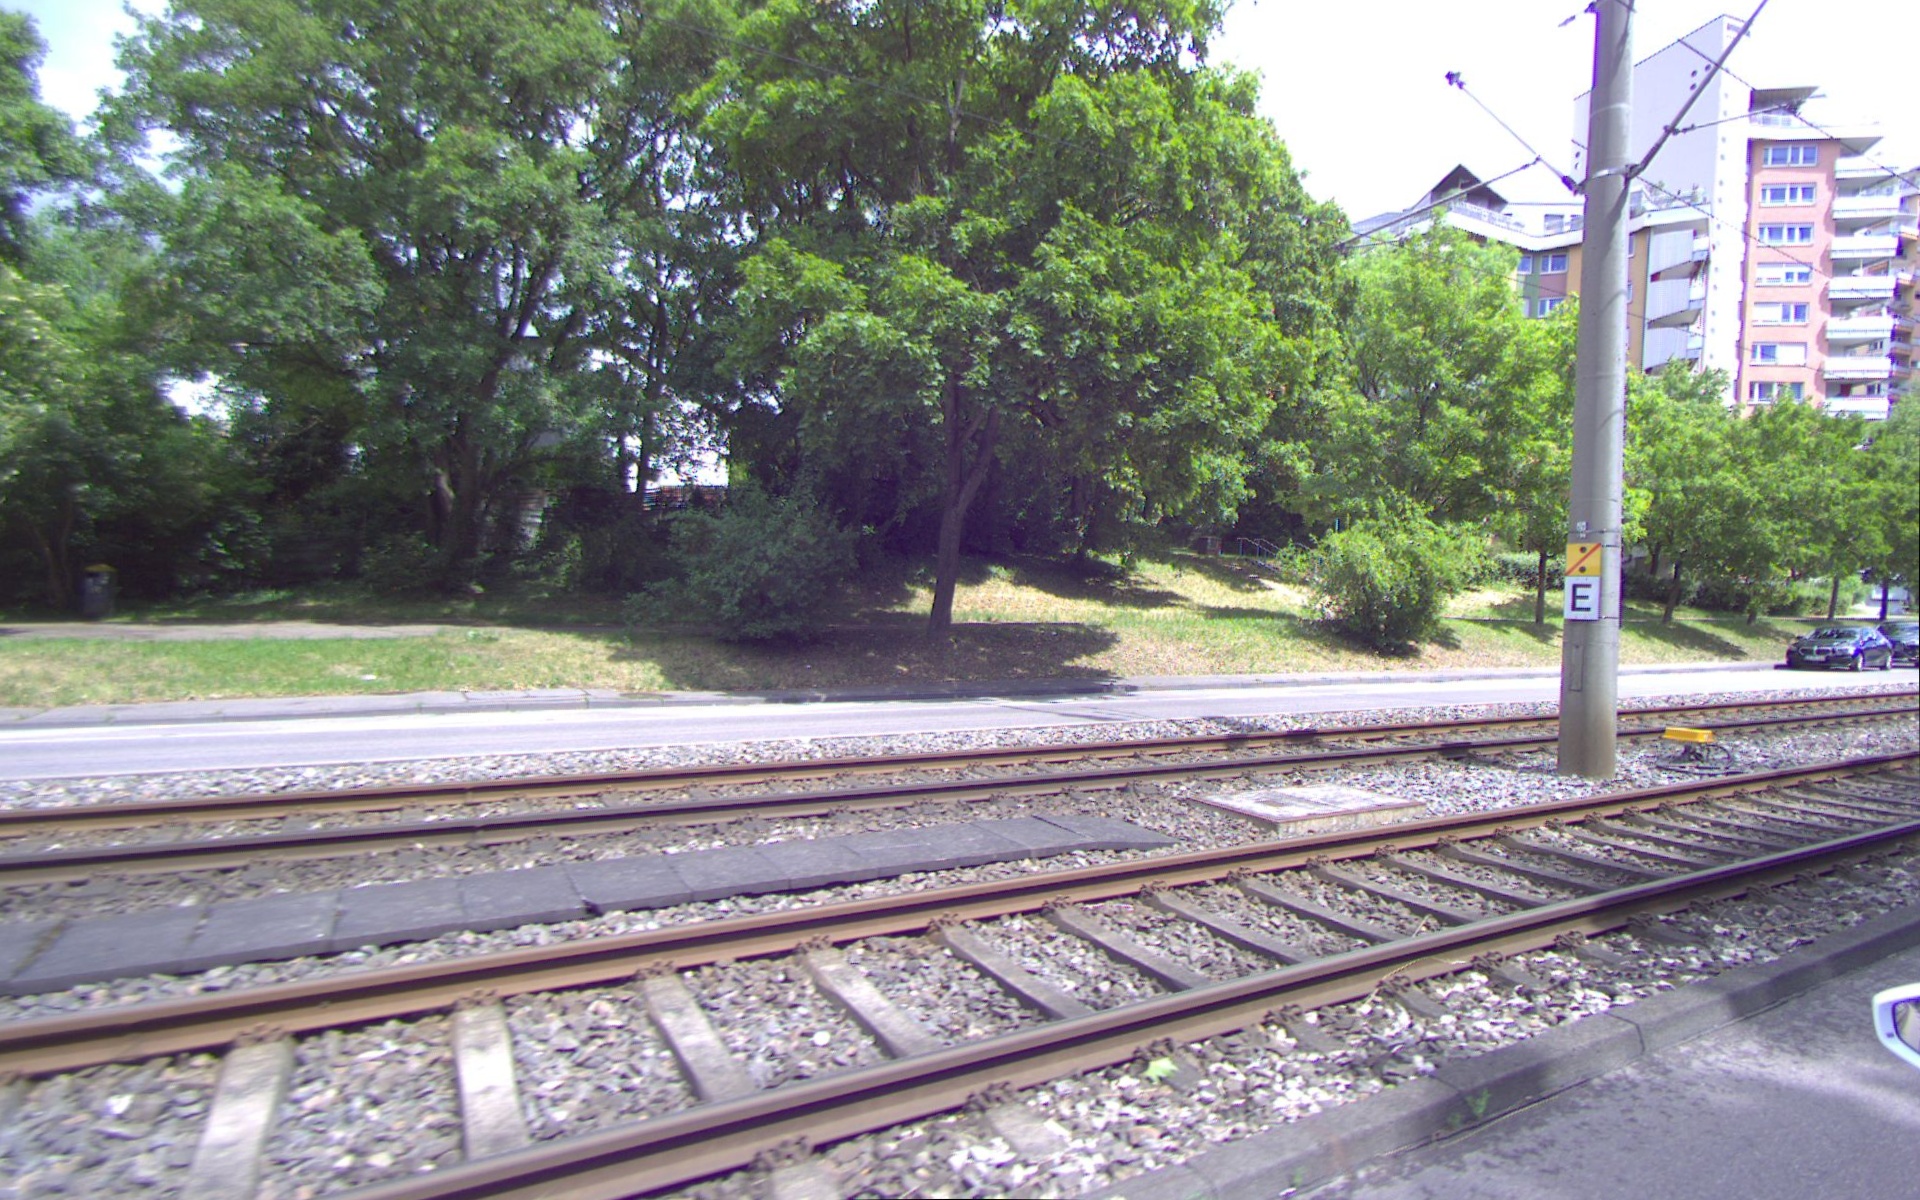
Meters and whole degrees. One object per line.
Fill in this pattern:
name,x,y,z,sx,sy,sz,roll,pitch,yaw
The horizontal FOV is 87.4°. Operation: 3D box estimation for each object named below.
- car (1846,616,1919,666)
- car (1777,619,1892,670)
car,33.377,1.453,35.659,4.335,1.651,1.764,2,-1,-33
car,28.273,1.404,32.462,3.953,1.518,1.764,1,0,-33
